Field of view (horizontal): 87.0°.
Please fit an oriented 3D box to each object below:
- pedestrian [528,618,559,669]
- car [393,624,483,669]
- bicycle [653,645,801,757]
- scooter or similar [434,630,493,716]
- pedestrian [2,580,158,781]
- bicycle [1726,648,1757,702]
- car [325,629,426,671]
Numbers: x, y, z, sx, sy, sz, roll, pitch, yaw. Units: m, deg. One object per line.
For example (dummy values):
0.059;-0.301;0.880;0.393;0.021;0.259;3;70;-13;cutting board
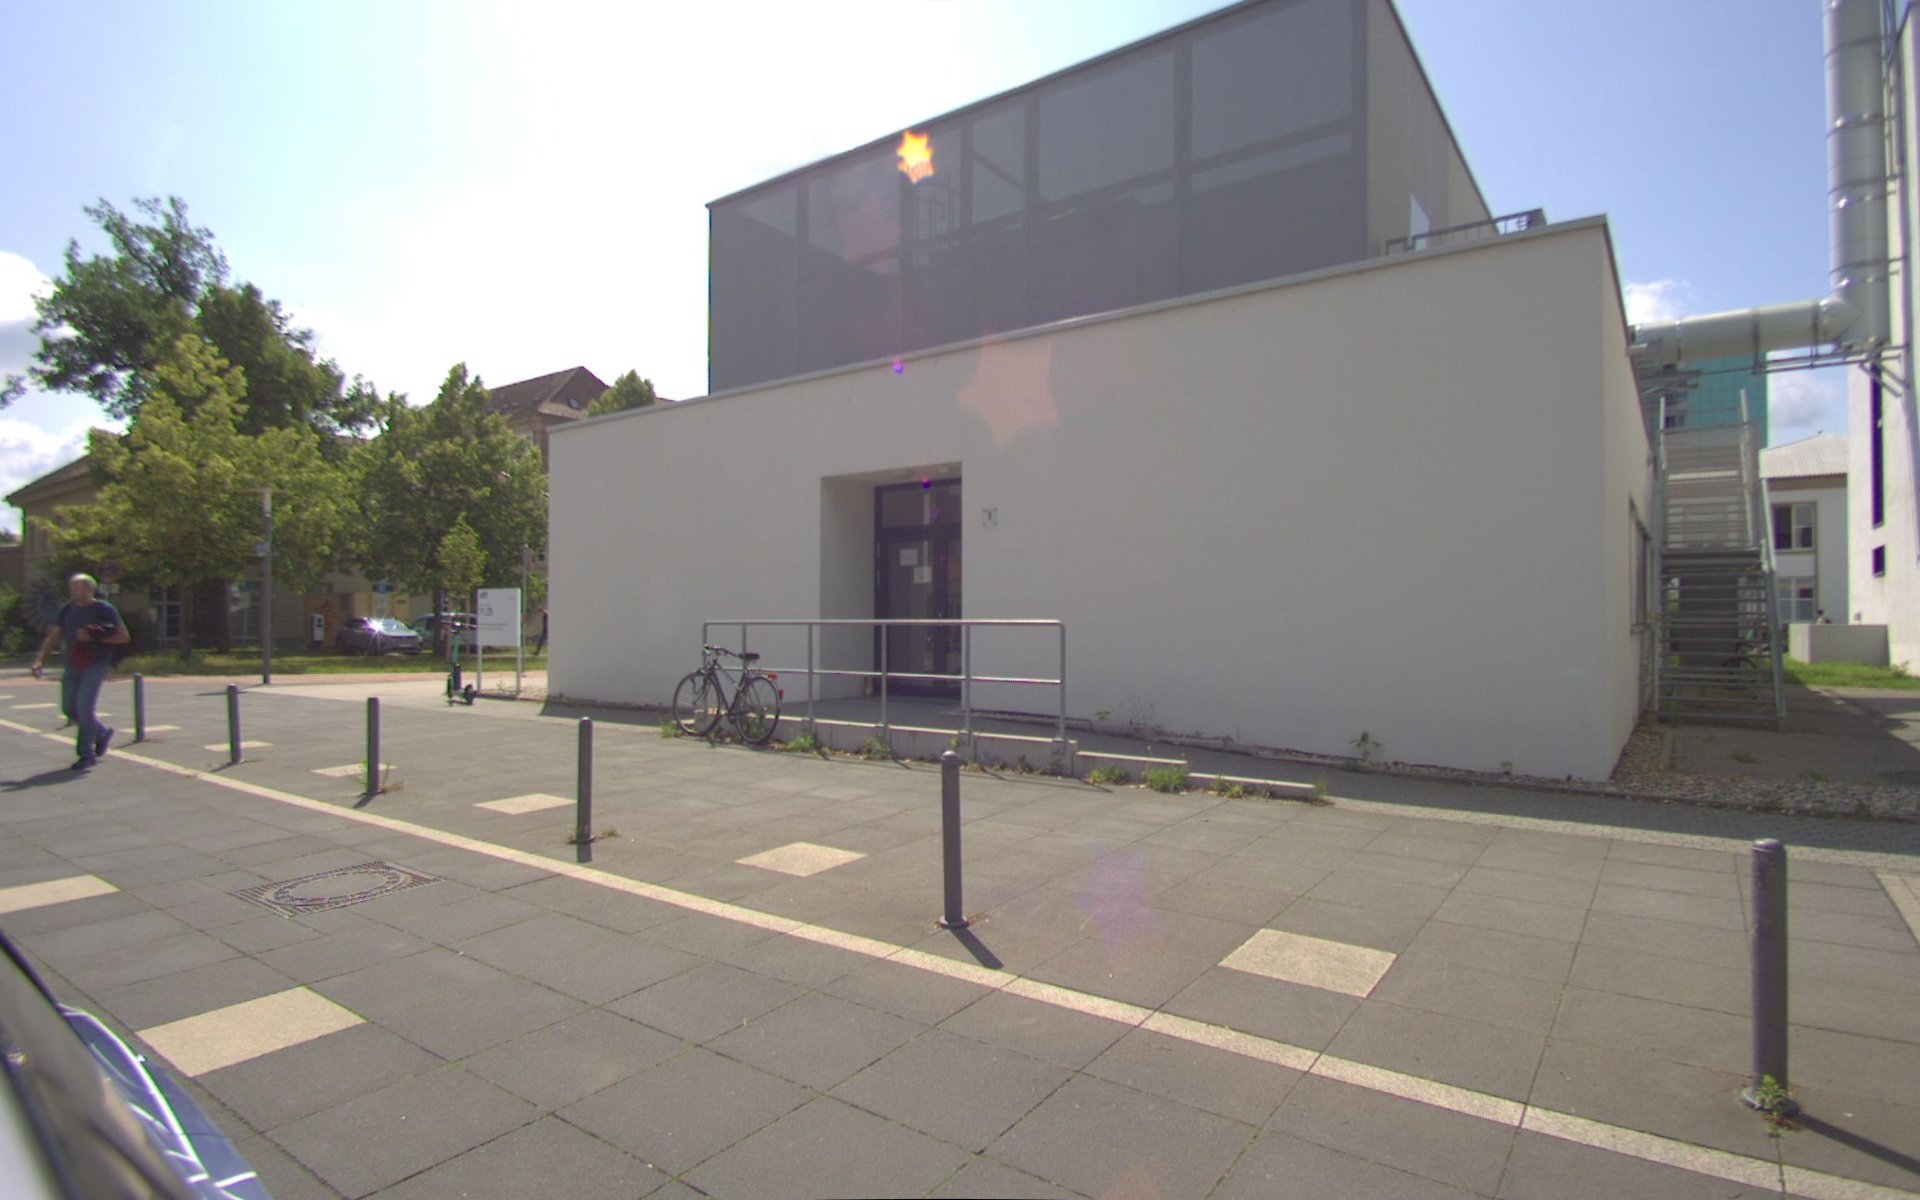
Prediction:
-15.383;1.607;37.380;0.860;1.800;0.636;2;2;-2;pedestrian
-22.727;1.998;44.048;4.116;1.799;1.791;0;-2;36;car
-2.512;1.030;10.784;1.898;1.069;0.537;-2;-2;42;bicycle
-7.676;1.101;15.619;0.476;1.272;1.315;1;-2;-41;scooter or similar
-8.589;0.749;9.881;1.140;1.831;0.817;-1;-2;31;pedestrian
14.979;1.417;19.390;0.443;0.981;0.969;-2;-2;39;bicycle
-24.372;2.039;42.131;4.640;1.593;1.877;0;-2;36;car
